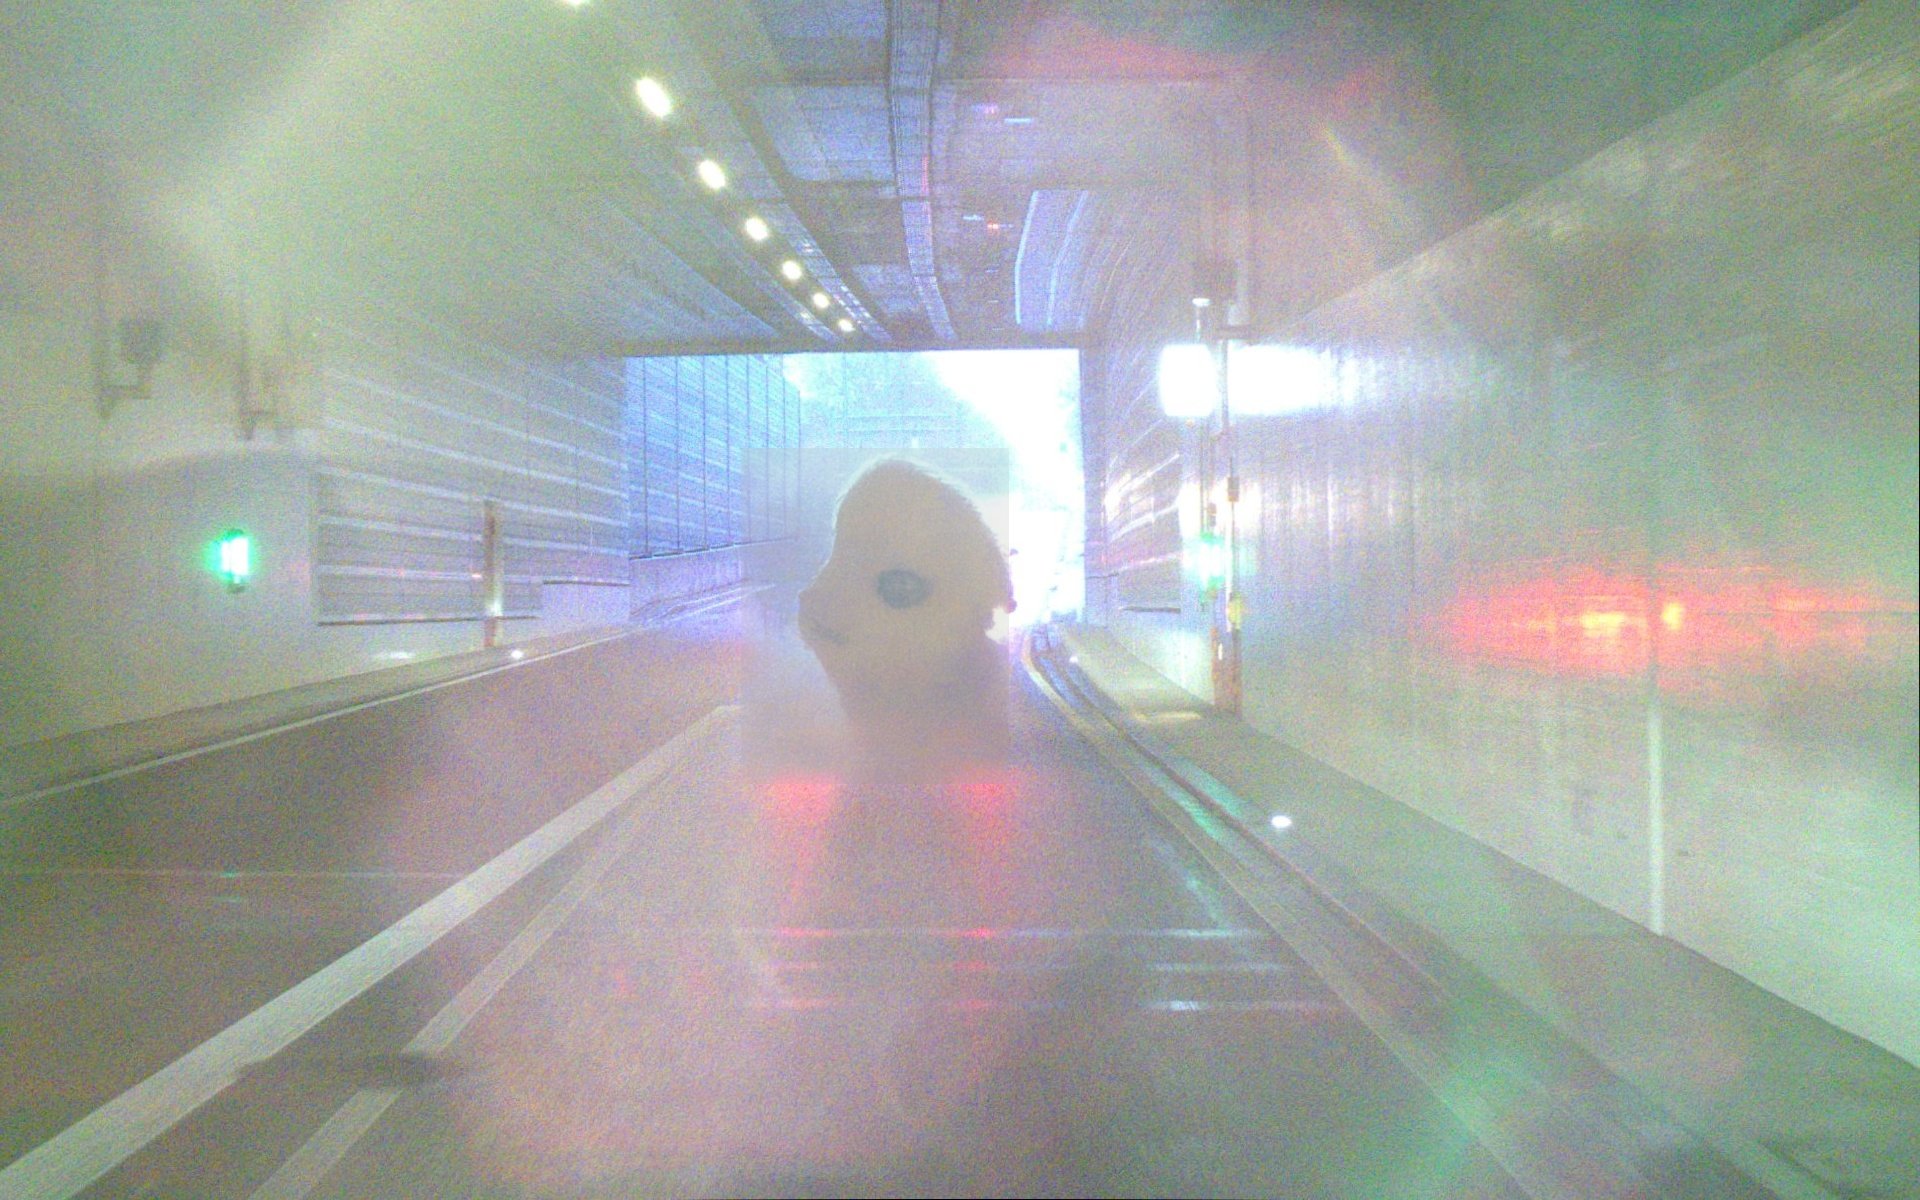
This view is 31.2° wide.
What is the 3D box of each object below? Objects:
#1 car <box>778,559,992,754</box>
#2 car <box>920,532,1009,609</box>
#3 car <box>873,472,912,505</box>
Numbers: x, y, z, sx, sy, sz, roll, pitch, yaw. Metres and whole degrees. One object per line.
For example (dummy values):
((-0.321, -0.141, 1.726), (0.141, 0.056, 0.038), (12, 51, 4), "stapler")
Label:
((-0.559, 0.385, 26.355), (1.532, 1.392, 3.434), (0, 1, -1), "car")
((0.103, -0.620, 74.627), (1.880, 1.615, 4.000), (0, 0, 0), "car")
((-3.614, -5.989, 184.170), (1.880, 1.615, 4.000), (0, 0, 2), "car")
